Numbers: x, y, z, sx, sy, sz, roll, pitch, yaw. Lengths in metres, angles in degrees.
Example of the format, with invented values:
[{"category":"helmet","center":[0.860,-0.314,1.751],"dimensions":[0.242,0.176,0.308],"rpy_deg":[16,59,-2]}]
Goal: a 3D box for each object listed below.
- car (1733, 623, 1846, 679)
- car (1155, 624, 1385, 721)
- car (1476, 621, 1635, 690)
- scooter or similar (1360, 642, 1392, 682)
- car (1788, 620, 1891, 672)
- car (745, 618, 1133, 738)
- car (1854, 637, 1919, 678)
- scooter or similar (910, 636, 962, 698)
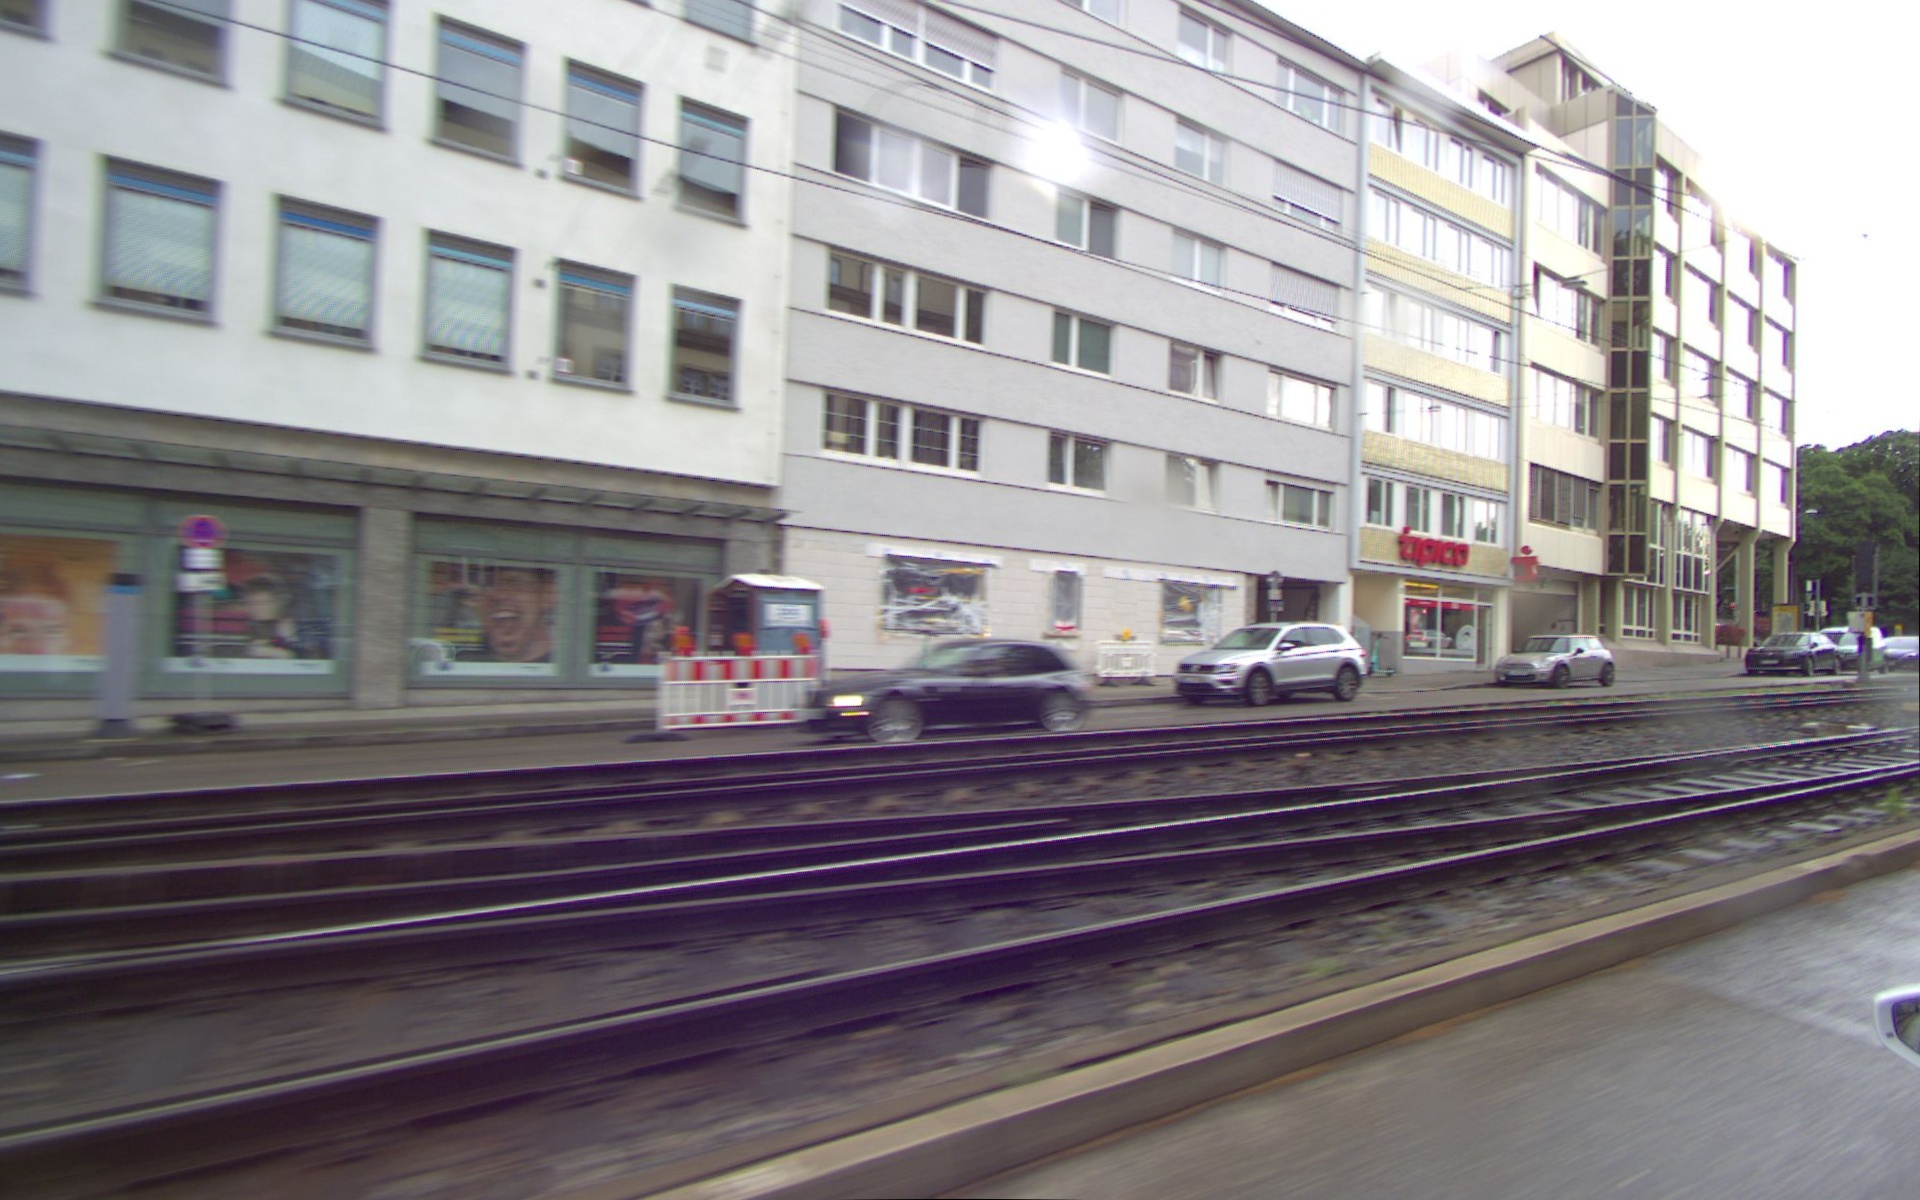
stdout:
[{"category":"car","center":[30.031,1.832,36.325],"dimensions":[4.648,1.874,1.981],"rpy_deg":[3,-1,-35]},{"category":"car","center":[6.388,1.383,20.573],"dimensions":[4.643,1.696,1.983],"rpy_deg":[0,0,-32]},{"category":"car","center":[16.272,1.505,27.381],"dimensions":[4.648,1.696,1.981],"rpy_deg":[3,-1,-35]},{"category":"scooter or similar","center":[11.741,1.745,28.342],"dimensions":[0.963,1.046,0.378],"rpy_deg":[-2,1,-34]},{"category":"car","center":[34.356,1.807,39.204],"dimensions":[4.648,1.874,1.981],"rpy_deg":[3,-1,-35]},{"category":"car","center":[-0.164,0.958,12.802],"dimensions":[4.648,1.271,1.981],"rpy_deg":[3,-4,-35]},{"category":"car","center":[39.828,2.416,42.509],"dimensions":[4.504,1.603,1.981],"rpy_deg":[3,-1,-35]},{"category":"scooter or similar","center":[-0.481,1.355,20.390],"dimensions":[0.964,1.218,0.378],"rpy_deg":[2,-1,-34]}]
